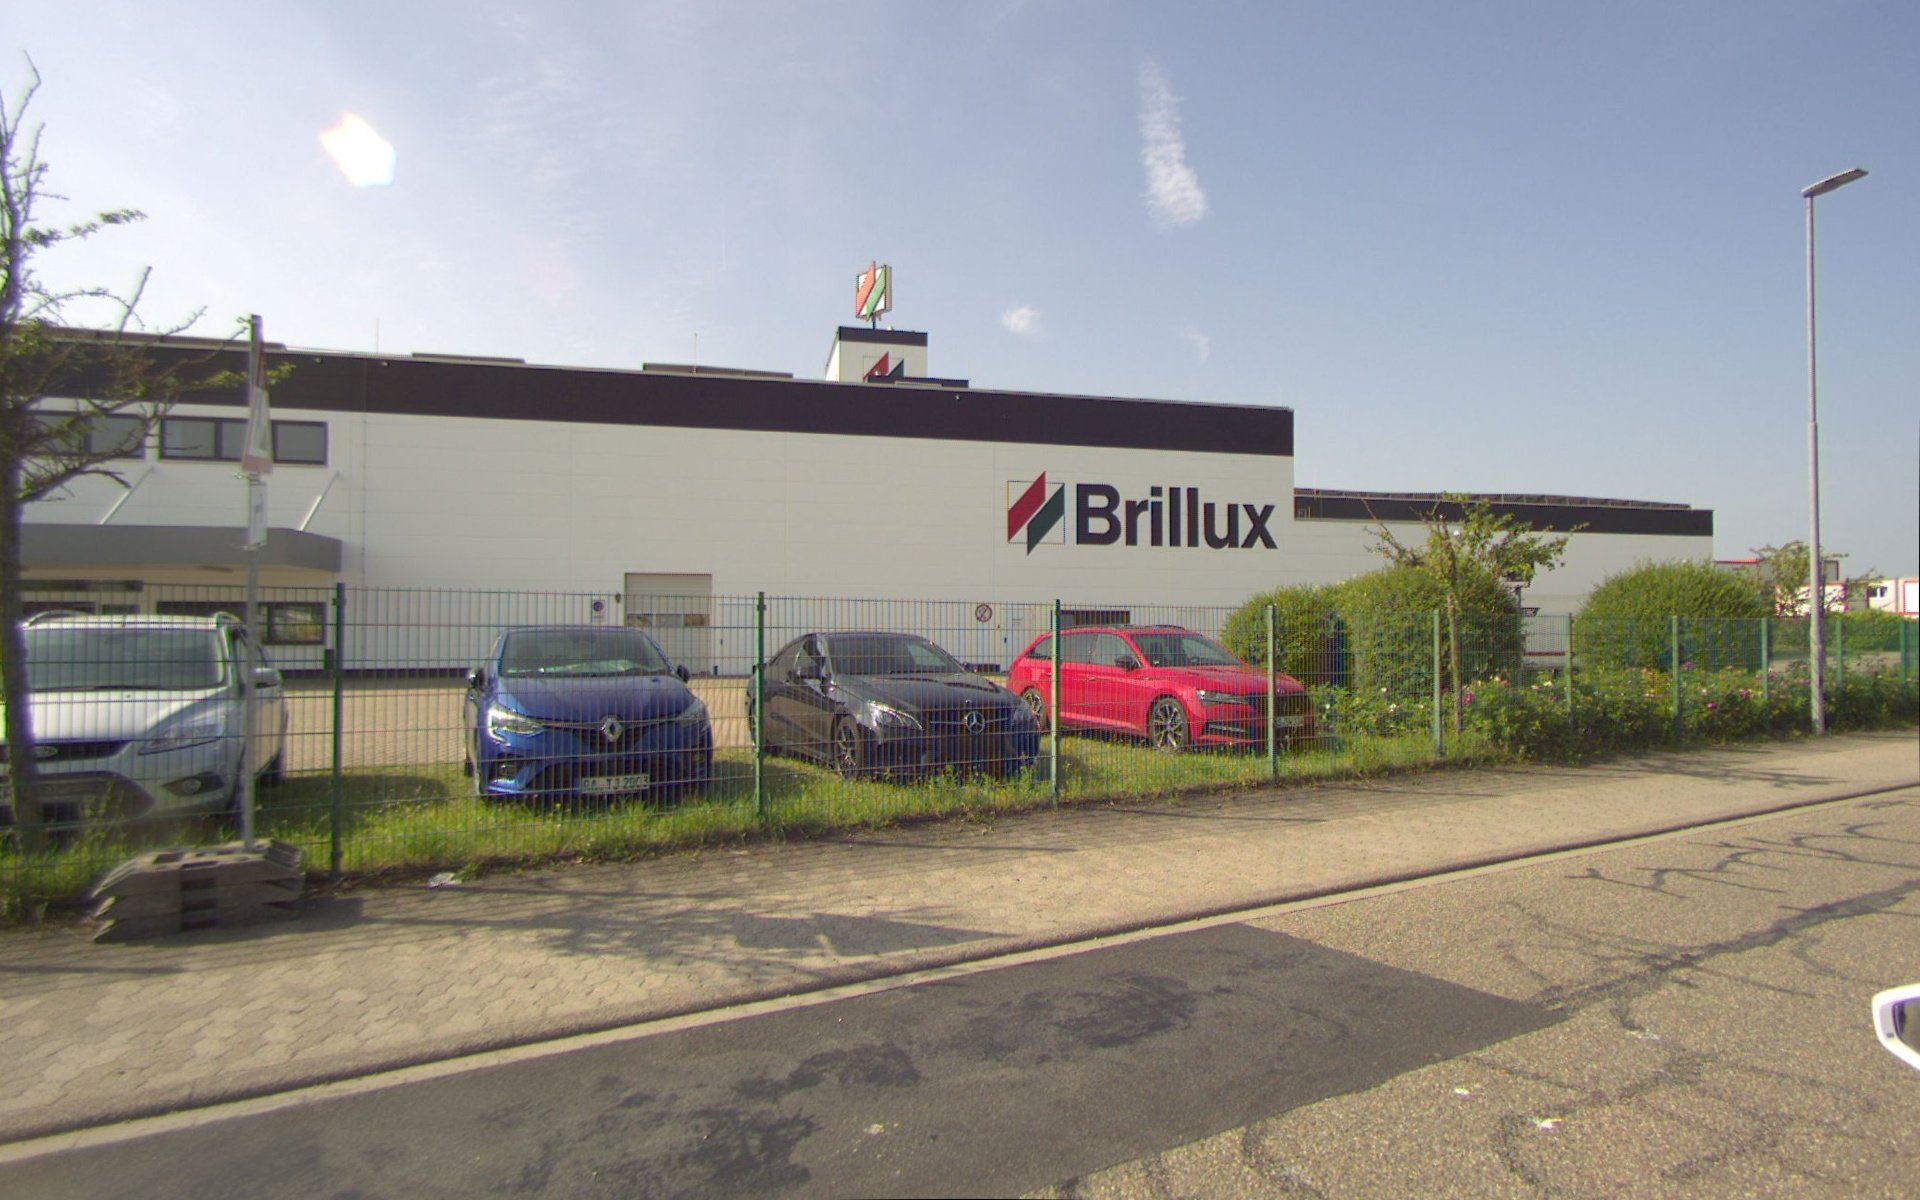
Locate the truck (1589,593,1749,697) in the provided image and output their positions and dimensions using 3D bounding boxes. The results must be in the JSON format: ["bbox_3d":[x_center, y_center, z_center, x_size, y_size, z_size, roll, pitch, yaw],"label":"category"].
[{"bbox_3d":[29.807,1.893,42.271,5.450,4.125,2.514,2,0,-14],"label":"truck"}]

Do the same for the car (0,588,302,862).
[{"bbox_3d":[-6.000,0.785,7.204,1.852,1.463,4.023,1,-4,-30],"label":"car"}]

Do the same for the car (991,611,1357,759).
[{"bbox_3d":[2.370,0.989,12.438,1.929,1.463,4.517,1,-4,-29],"label":"car"}]

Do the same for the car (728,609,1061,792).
[{"bbox_3d":[-0.893,0.938,10.282,1.852,1.463,4.023,1,-4,-30],"label":"car"}]

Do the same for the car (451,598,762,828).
[{"bbox_3d":[-3.235,0.851,8.639,1.852,1.463,4.023,1,-4,-30],"label":"car"}]

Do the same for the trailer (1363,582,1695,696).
[{"bbox_3d":[23.066,1.623,40.589,13.653,4.095,2.483,2,0,-14],"label":"trailer"}]
